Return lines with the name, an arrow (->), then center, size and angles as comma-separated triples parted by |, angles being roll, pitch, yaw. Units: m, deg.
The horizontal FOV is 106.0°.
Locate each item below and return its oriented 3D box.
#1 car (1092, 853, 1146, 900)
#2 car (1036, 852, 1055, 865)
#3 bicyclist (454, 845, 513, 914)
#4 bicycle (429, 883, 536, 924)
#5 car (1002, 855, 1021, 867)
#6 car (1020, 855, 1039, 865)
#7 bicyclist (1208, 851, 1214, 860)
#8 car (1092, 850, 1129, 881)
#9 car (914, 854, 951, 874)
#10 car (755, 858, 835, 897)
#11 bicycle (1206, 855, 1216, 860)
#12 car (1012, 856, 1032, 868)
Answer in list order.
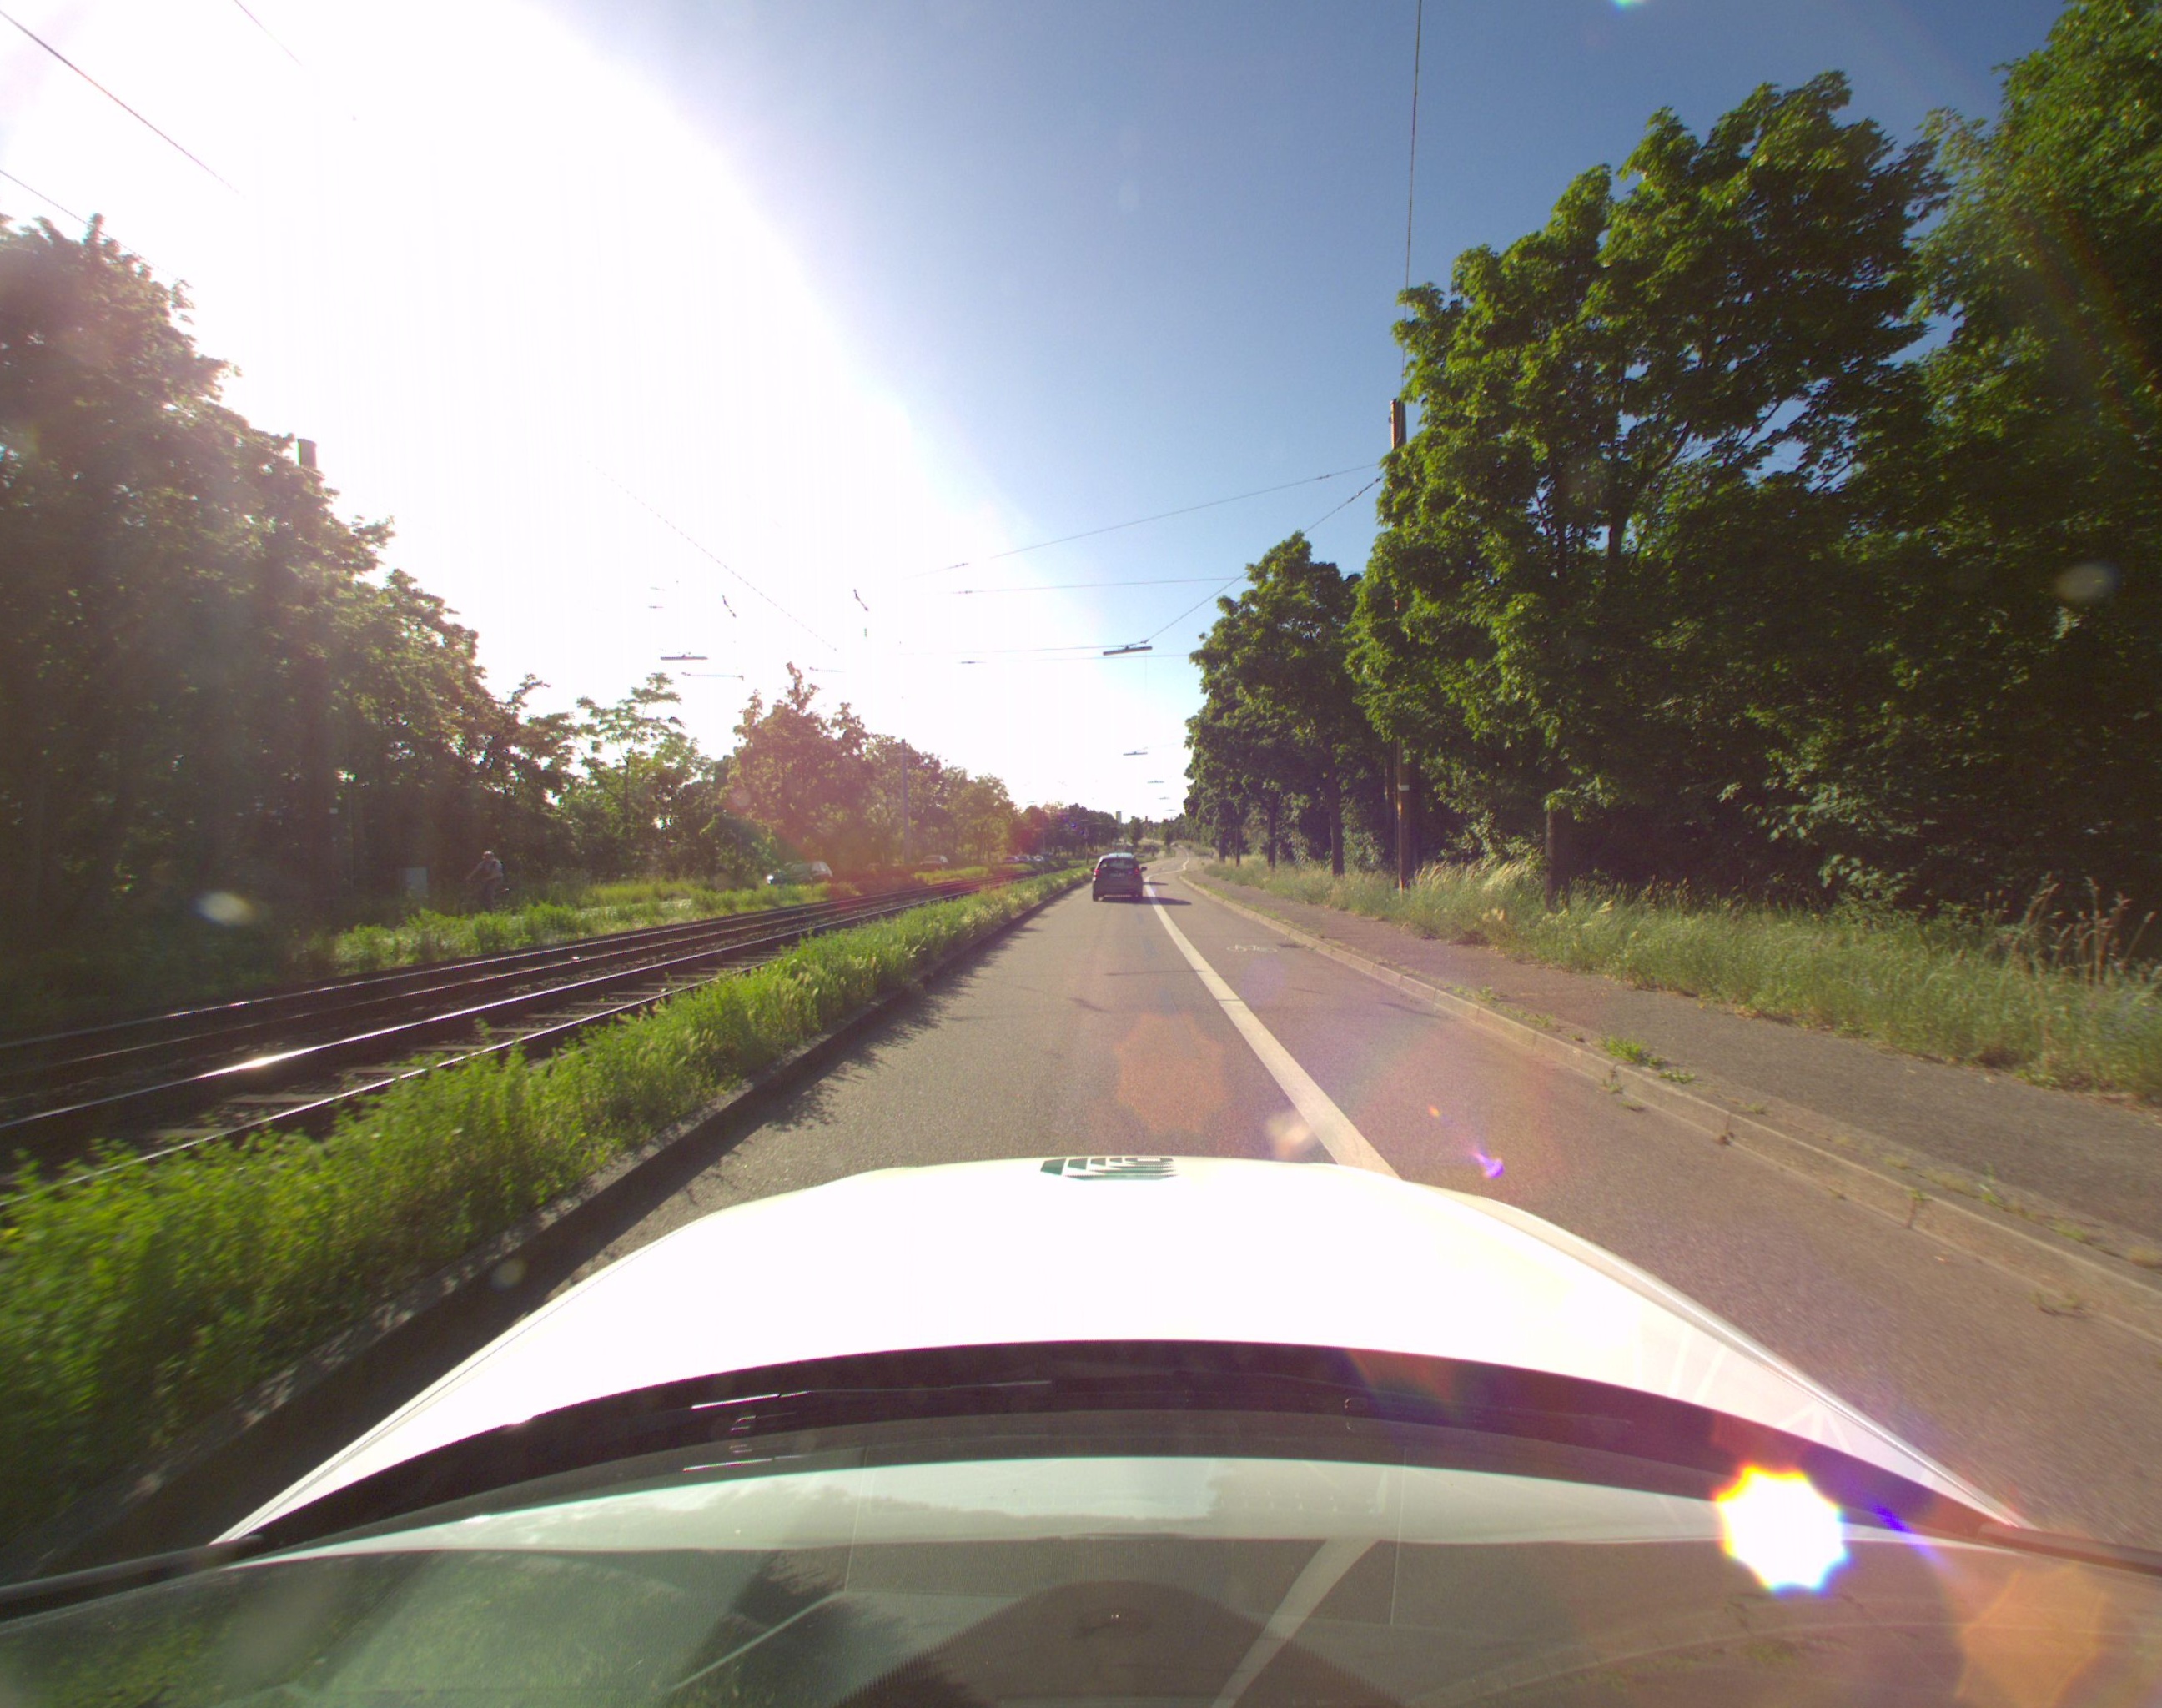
car -> 1.368, 0.725, 28.106 | 1.699, 1.509, 4.005 | 0, 0, 5
car -> -5.726, 0.715, 131.854 | 2.183, 1.891, 4.805 | -1, 0, 10
bicyclist -> -15.406, 0.641, 21.023 | 0.816, 1.736, 0.903 | 0, 0, 3
bicycle -> -15.431, 1.258, 21.109 | 0.815, 0.914, 2.539 | 0, 0, 3
car -> -9.090, 0.957, 107.046 | 1.726, 1.494, 4.335 | 1, 0, 6
car -> -7.517, 0.823, 119.530 | 1.982, 1.437, 4.425 | -1, 0, 8
bicyclist -> 25.964, 0.261, 162.327 | 0.902, 1.745, 0.768 | -2, -1, 19
car -> 1.678, 0.602, 44.502 | 1.842, 1.606, 4.259 | -1, 0, 4
car -> -13.268, 0.885, 73.103 | 1.994, 1.702, 4.475 | -1, 0, 7
car -> -11.684, 0.910, 33.546 | 1.703, 1.479, 4.003 | 0, 0, 3
bicycle -> 25.893, 0.744, 162.318 | 1.904, 0.998, 0.768 | -3, -1, 19
car -> -8.183, 1.060, 113.656 | 1.983, 1.574, 4.443 | -1, 0, 6
